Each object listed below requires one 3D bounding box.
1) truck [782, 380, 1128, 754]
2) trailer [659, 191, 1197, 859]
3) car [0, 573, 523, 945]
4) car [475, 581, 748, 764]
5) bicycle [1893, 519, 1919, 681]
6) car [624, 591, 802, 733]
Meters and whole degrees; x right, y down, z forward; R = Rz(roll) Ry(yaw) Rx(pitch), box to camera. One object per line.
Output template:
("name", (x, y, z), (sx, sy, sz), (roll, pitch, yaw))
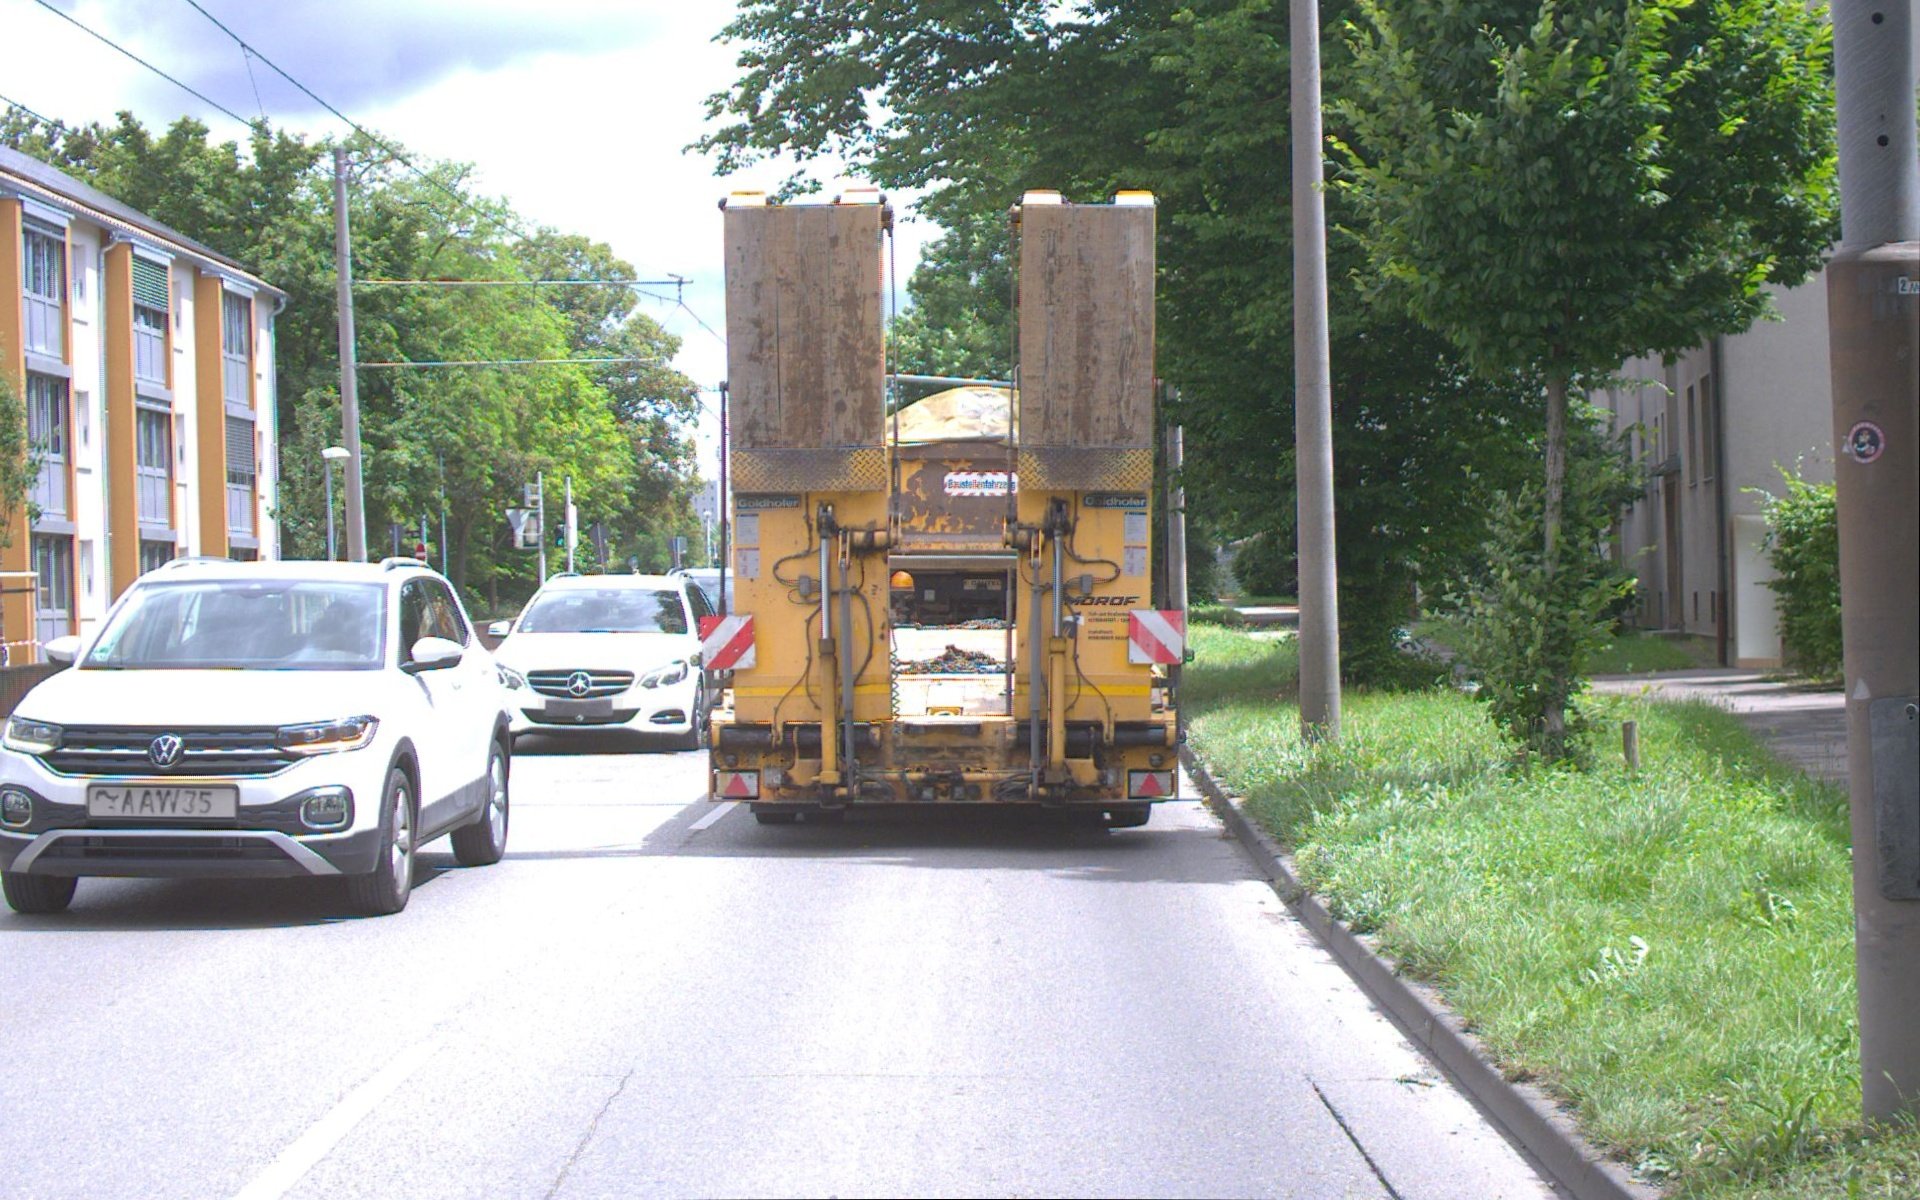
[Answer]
("truck", (0.046, -0.314, 32.982), (2.917, 3.156, 7.680), (0, 0, 1))
("trailer", (-0.124, -0.434, 23.629), (2.822, 3.512, 11.052), (0, 0, 0))
("car", (-3.266, 0.653, 16.285), (1.718, 1.547, 3.917), (0, 0, 3))
("car", (-2.985, 0.579, 30.323), (1.879, 1.476, 4.528), (0, 0, 1))
("bicycle", (9.991, -0.024, 33.816), (1.347, 1.568, 1.071), (-2, 0, 4))
("car", (-2.765, 0.665, 39.188), (1.650, 1.515, 3.865), (0, 0, 2))
